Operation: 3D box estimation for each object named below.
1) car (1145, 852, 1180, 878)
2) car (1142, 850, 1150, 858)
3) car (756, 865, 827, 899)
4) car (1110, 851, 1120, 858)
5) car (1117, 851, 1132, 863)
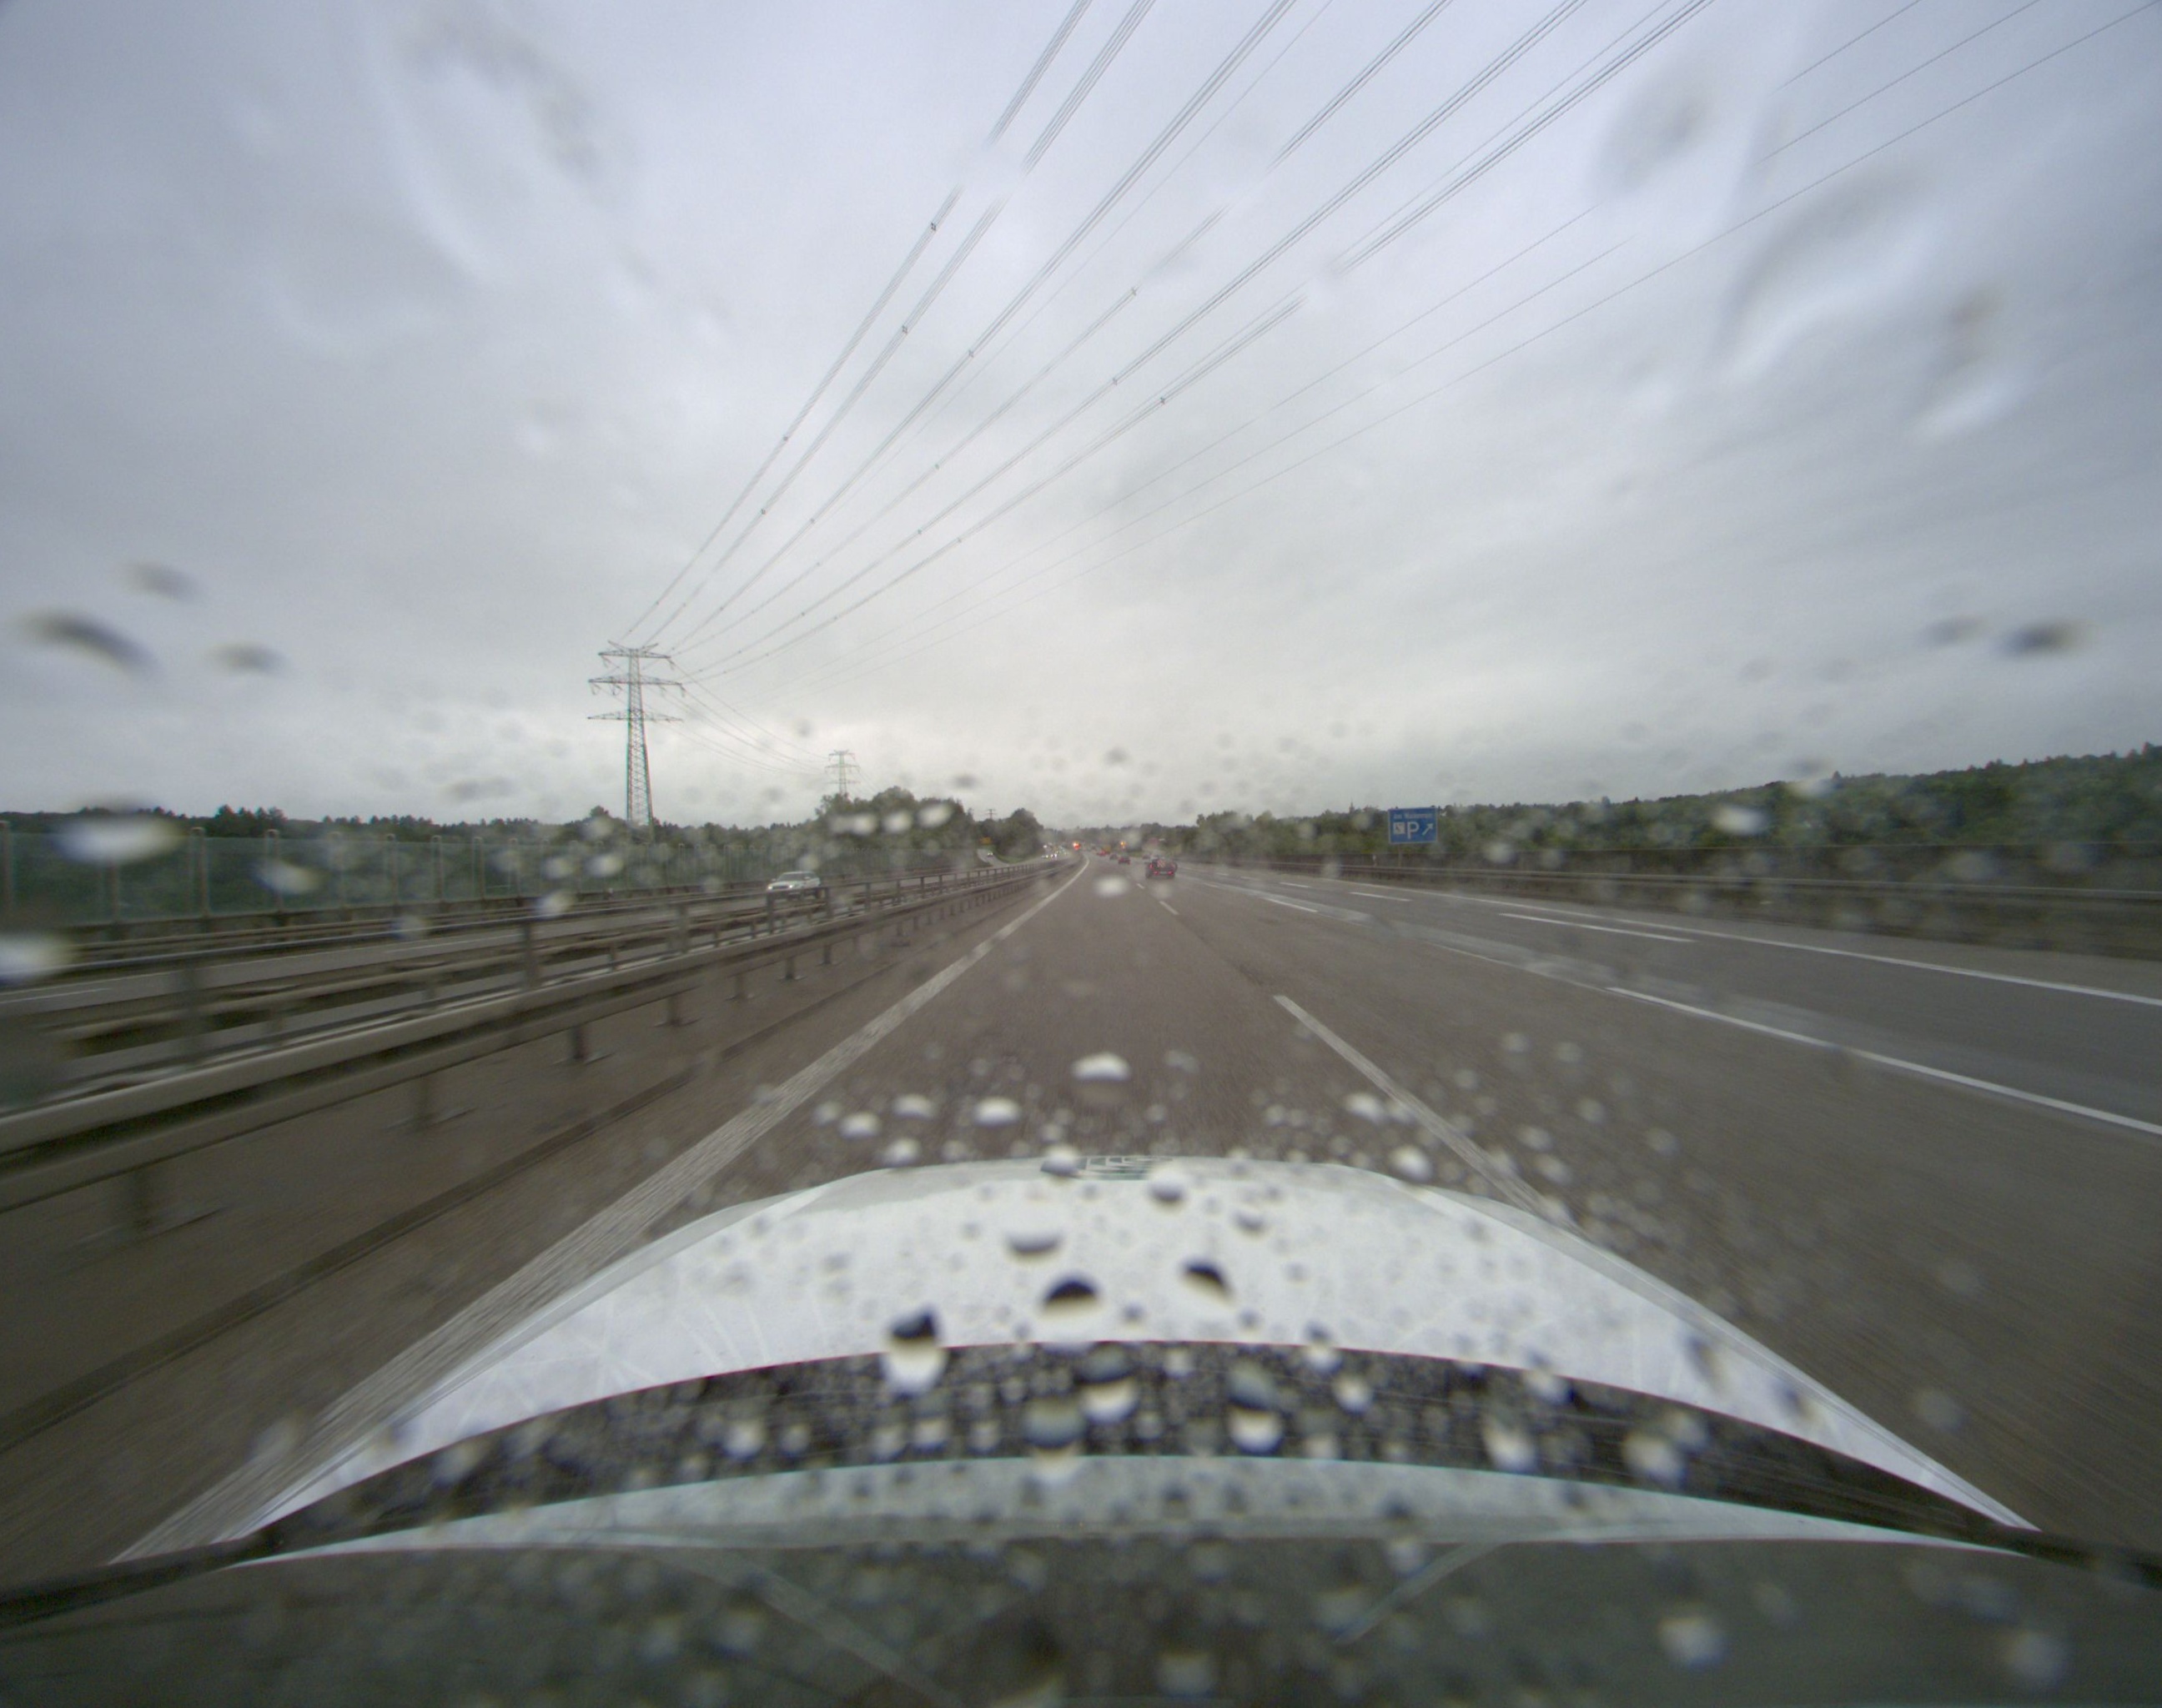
[{"bbox_3d":[5.529,0.697,55.896,2.049,1.671,5.525,-1,0,2],"label":"car"},{"bbox_3d":[15.333,0.018,191.740,1.913,1.709,4.007,-3,1,6],"label":"car"},{"bbox_3d":[-15.676,1.478,44.389,1.986,1.629,4.714,-2,0,1],"label":"car"},{"bbox_3d":[7.945,0.110,190.147,1.988,1.628,3.998,-3,1,-1],"label":"car"},{"bbox_3d":[6.936,0.443,130.256,1.988,1.760,3.998,-3,1,-1],"label":"car"}]
